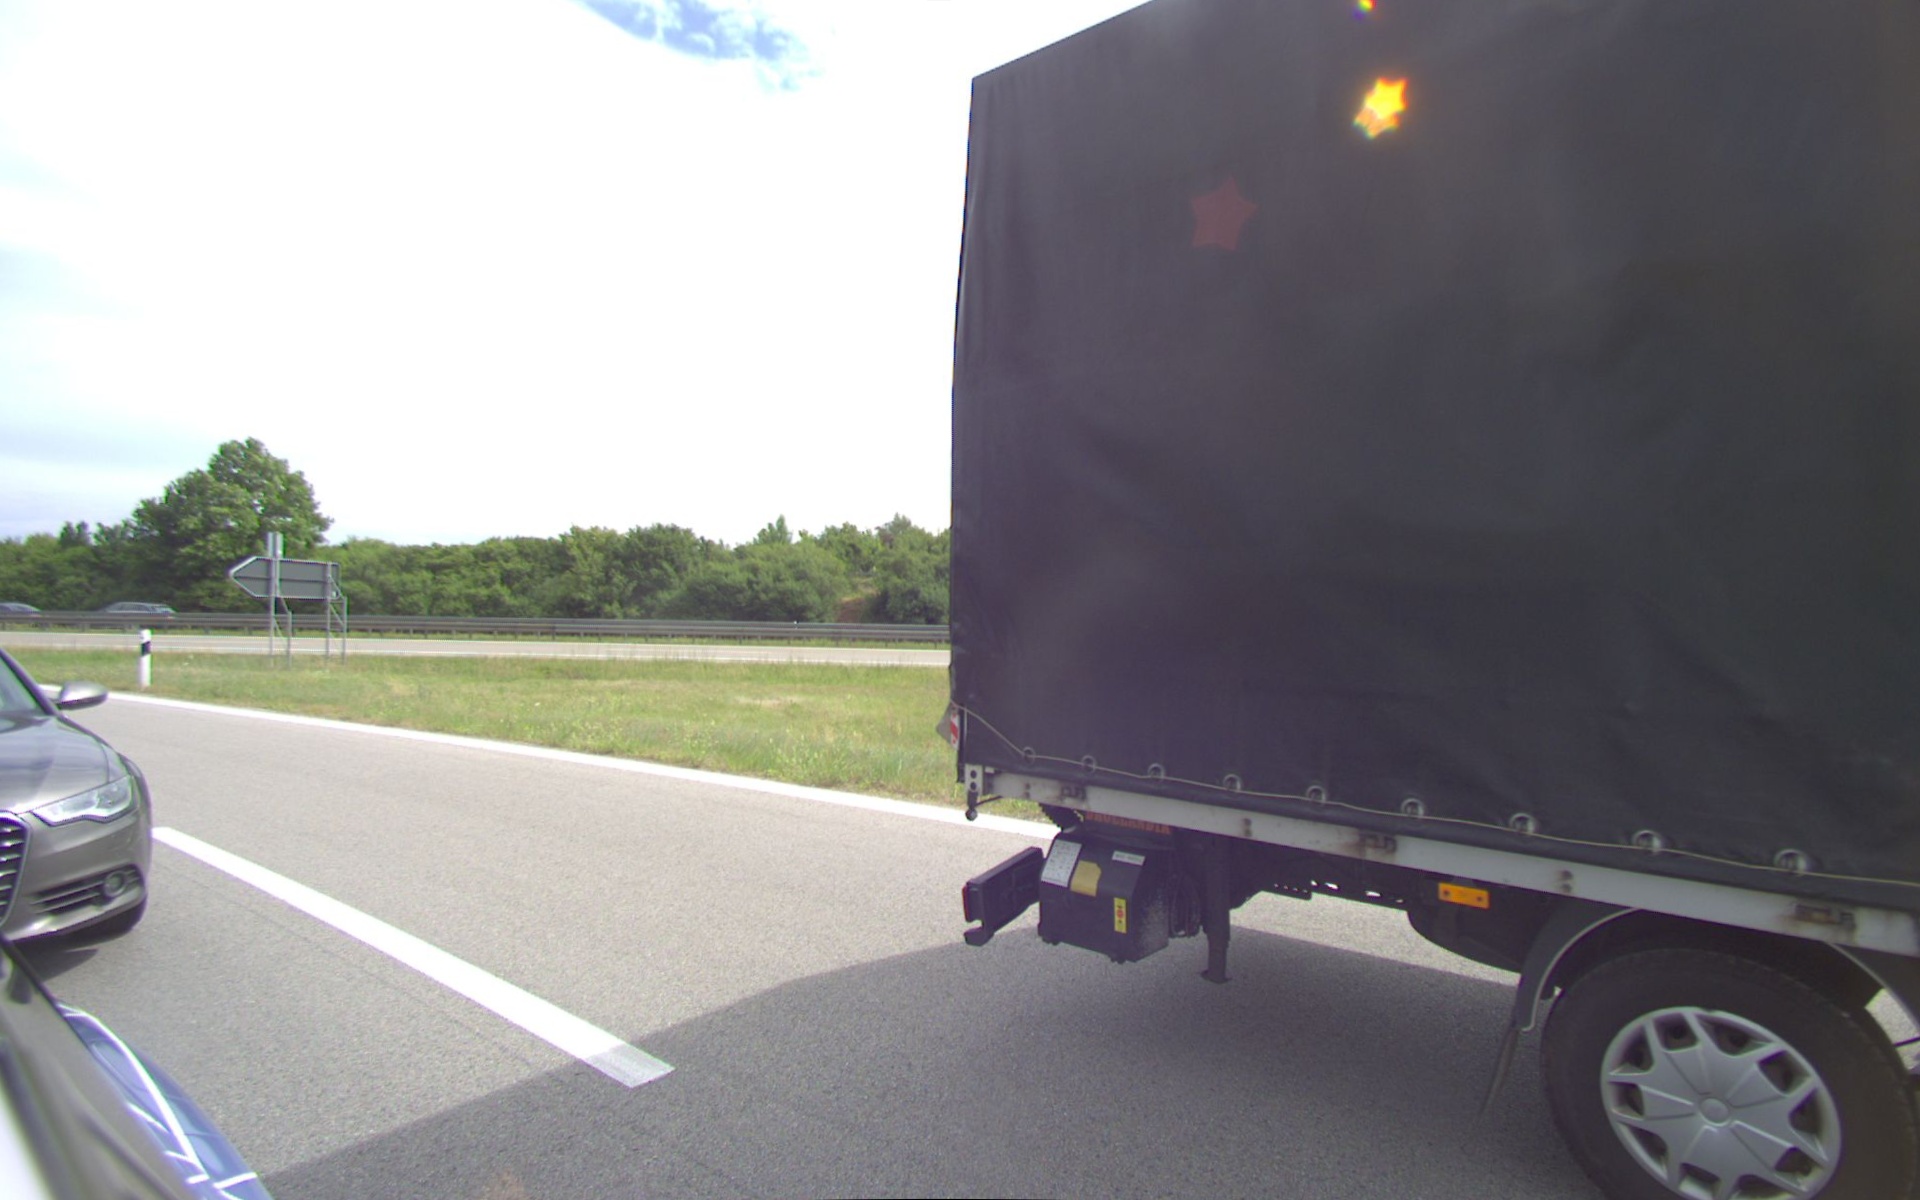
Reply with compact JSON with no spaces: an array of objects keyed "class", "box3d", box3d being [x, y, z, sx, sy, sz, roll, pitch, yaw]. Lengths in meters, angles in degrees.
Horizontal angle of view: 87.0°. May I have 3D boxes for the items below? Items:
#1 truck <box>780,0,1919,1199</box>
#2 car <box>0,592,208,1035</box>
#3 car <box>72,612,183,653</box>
[{"class":"truck","box3d":[2.972,-0.250,2.228,7.465,3.191,2.533,-1,0,41]},{"class":"car","box3d":[-5.297,0.766,4.651,4.535,1.526,1.973,-1,-1,40]},{"class":"car","box3d":[-40.689,1.572,49.525,4.156,1.887,1.841,-1,0,7]}]
